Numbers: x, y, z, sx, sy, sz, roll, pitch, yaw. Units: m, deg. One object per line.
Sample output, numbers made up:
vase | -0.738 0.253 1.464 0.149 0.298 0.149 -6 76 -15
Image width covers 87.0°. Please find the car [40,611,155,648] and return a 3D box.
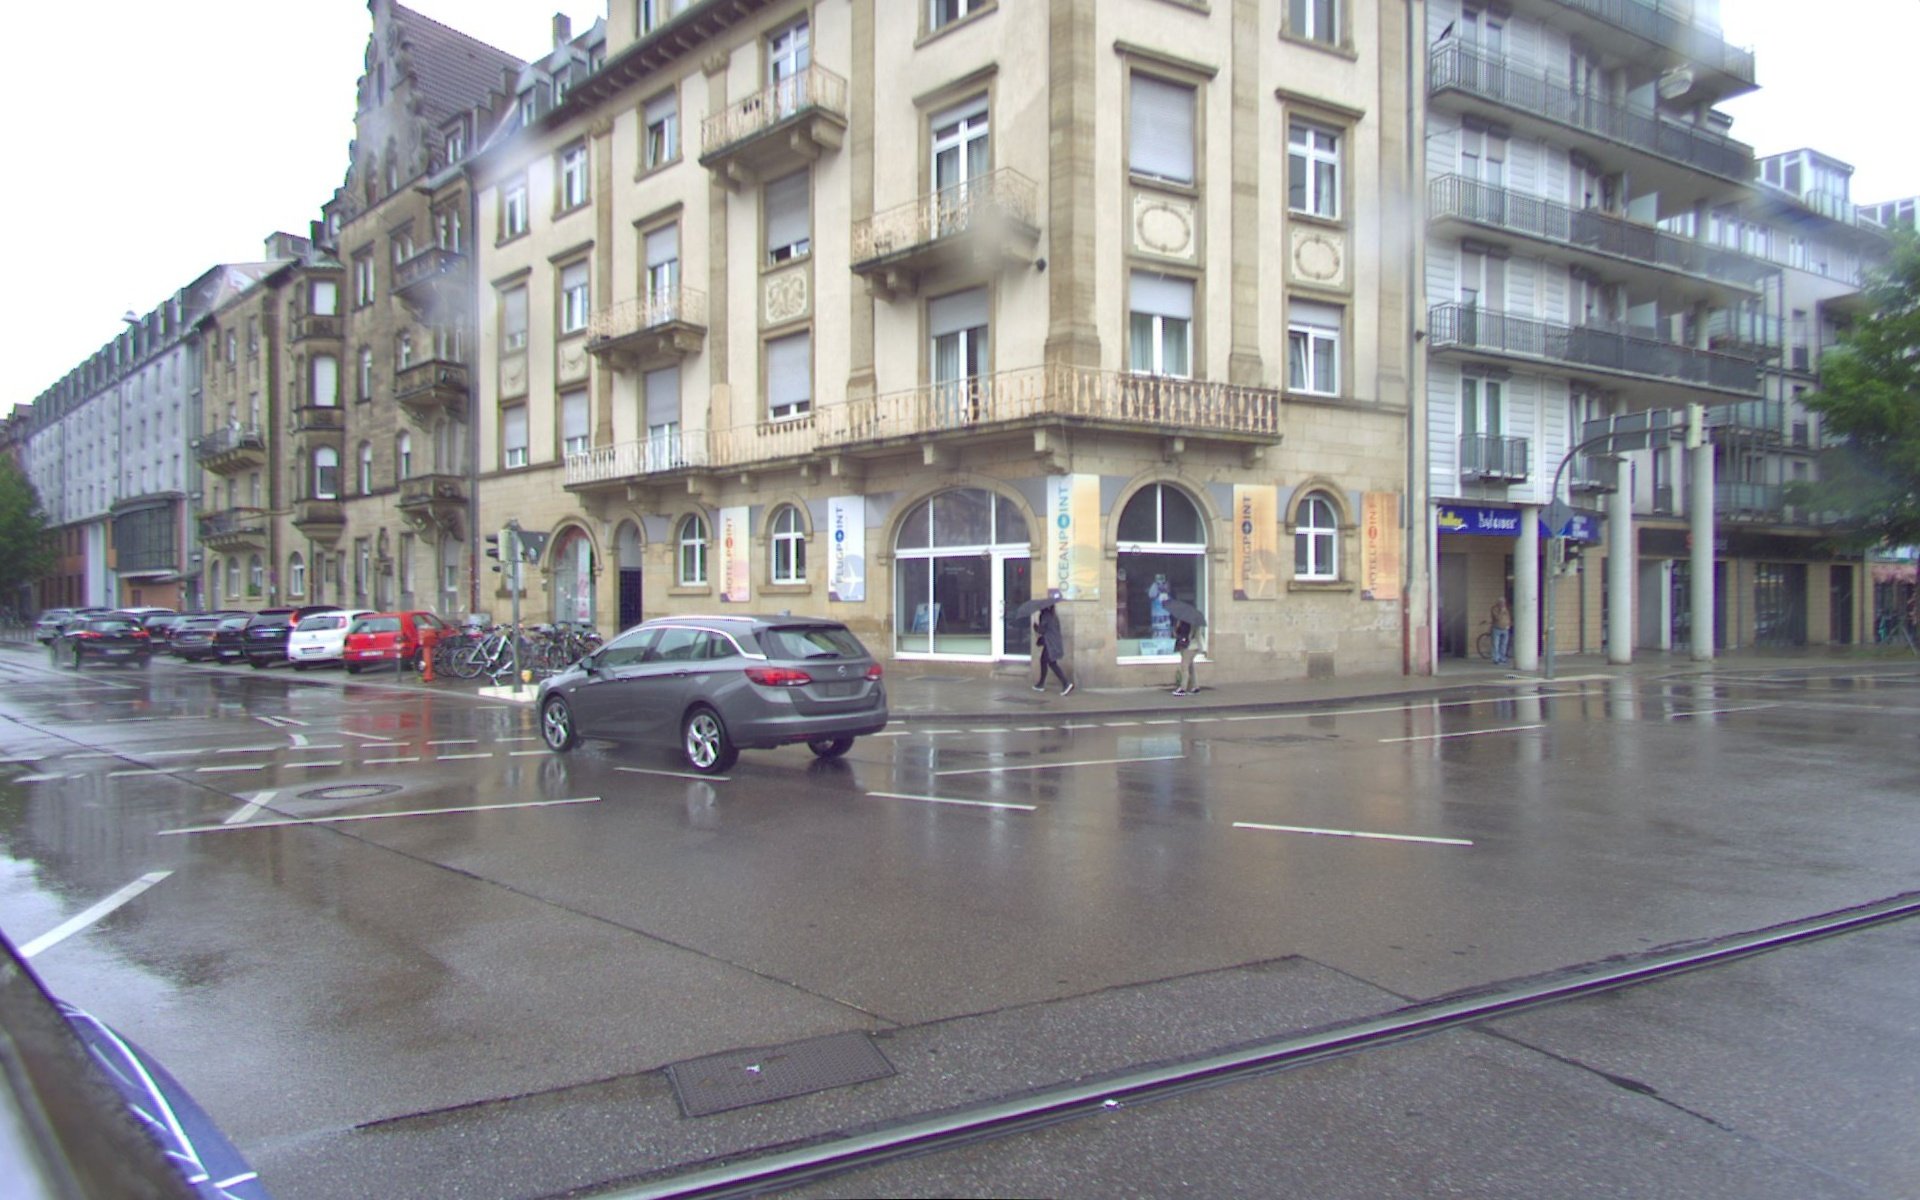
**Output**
car | -37.537 1.248 44.183 1.696 1.539 3.722 0 -1 4

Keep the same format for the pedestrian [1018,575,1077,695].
pedestrian | 1.481 0.577 17.270 0.689 1.980 0.924 1 2 -13

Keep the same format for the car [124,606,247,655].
car | -28.259 1.061 37.061 1.605 1.555 3.759 -2 1 0

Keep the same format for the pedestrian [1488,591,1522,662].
pedestrian | 13.970 0.677 25.948 0.601 1.793 0.501 0 0 -25

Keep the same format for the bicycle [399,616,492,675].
bicycle | -12.034 1.043 23.705 1.790 1.193 0.601 -6 4 -45

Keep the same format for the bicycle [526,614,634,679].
bicycle | -8.399 0.990 22.476 0.639 1.356 2.320 -1 -1 35

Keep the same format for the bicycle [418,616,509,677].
bicycle | -11.333 1.047 23.145 0.474 1.193 1.793 0 4 38

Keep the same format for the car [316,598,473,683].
car | -14.249 0.949 25.800 1.777 1.518 4.004 -5 5 -3

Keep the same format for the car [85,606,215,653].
car | -30.823 1.098 38.651 1.756 1.555 3.722 -2 1 5

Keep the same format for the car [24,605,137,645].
car | -39.952 1.117 46.096 1.790 1.743 3.924 0 -1 -2

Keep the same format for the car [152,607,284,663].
car | -23.840 1.086 32.664 1.677 1.555 3.429 -2 1 0

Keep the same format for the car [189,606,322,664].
car | -21.515 1.025 31.060 1.678 1.536 3.310 -2 1 1

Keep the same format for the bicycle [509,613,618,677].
bicycle | -8.912 0.987 22.850 0.639 1.356 2.320 -1 -1 35

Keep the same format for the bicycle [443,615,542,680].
bicycle | -10.191 1.018 22.126 0.438 1.340 1.955 -1 -1 42

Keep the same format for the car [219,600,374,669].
car | -18.944 0.935 29.139 1.740 1.704 4.085 -2 1 0

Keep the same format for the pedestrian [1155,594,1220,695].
pedestrian | 3.951 0.748 17.587 0.731 1.671 0.743 0 3 -31

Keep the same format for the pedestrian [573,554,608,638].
pedestrian | -10.526 -0.109 28.843 0.834 2.357 0.767 0 -1 -28

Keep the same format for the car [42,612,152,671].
car | -24.832 1.138 29.078 3.774 1.558 1.726 0 -1 39

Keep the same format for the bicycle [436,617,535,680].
bicycle | -10.503 1.055 22.469 0.474 1.193 1.962 0 3 37

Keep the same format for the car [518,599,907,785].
car | -2.719 0.788 10.561 4.336 1.558 1.709 0 -1 40

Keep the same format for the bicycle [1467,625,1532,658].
bicycle | 15.227 1.170 28.572 1.894 0.873 0.583 0 0 -24

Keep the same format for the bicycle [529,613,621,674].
bicycle | -8.934 0.981 23.577 0.583 1.356 2.040 -1 -1 34

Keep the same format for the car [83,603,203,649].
car | -33.048 1.032 41.077 1.755 1.639 3.725 -2 1 2

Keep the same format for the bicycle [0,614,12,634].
bicycle | -55.042 1.397 57.489 0.544 1.081 1.668 0 2 36

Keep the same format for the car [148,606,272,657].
car | -26.024 1.063 35.253 1.607 1.555 3.440 -2 1 4

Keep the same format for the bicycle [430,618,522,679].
bicycle | -10.891 1.068 22.828 0.467 1.193 1.793 0 3 38

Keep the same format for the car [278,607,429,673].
car | -16.401 1.024 27.613 1.680 1.545 3.994 -2 1 0

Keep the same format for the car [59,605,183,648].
car | -35.319 1.079 42.741 1.880 1.538 3.718 0 3 9

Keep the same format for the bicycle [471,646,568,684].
bicycle | -8.886 1.304 20.442 1.462 0.668 1.040 0 2 9
